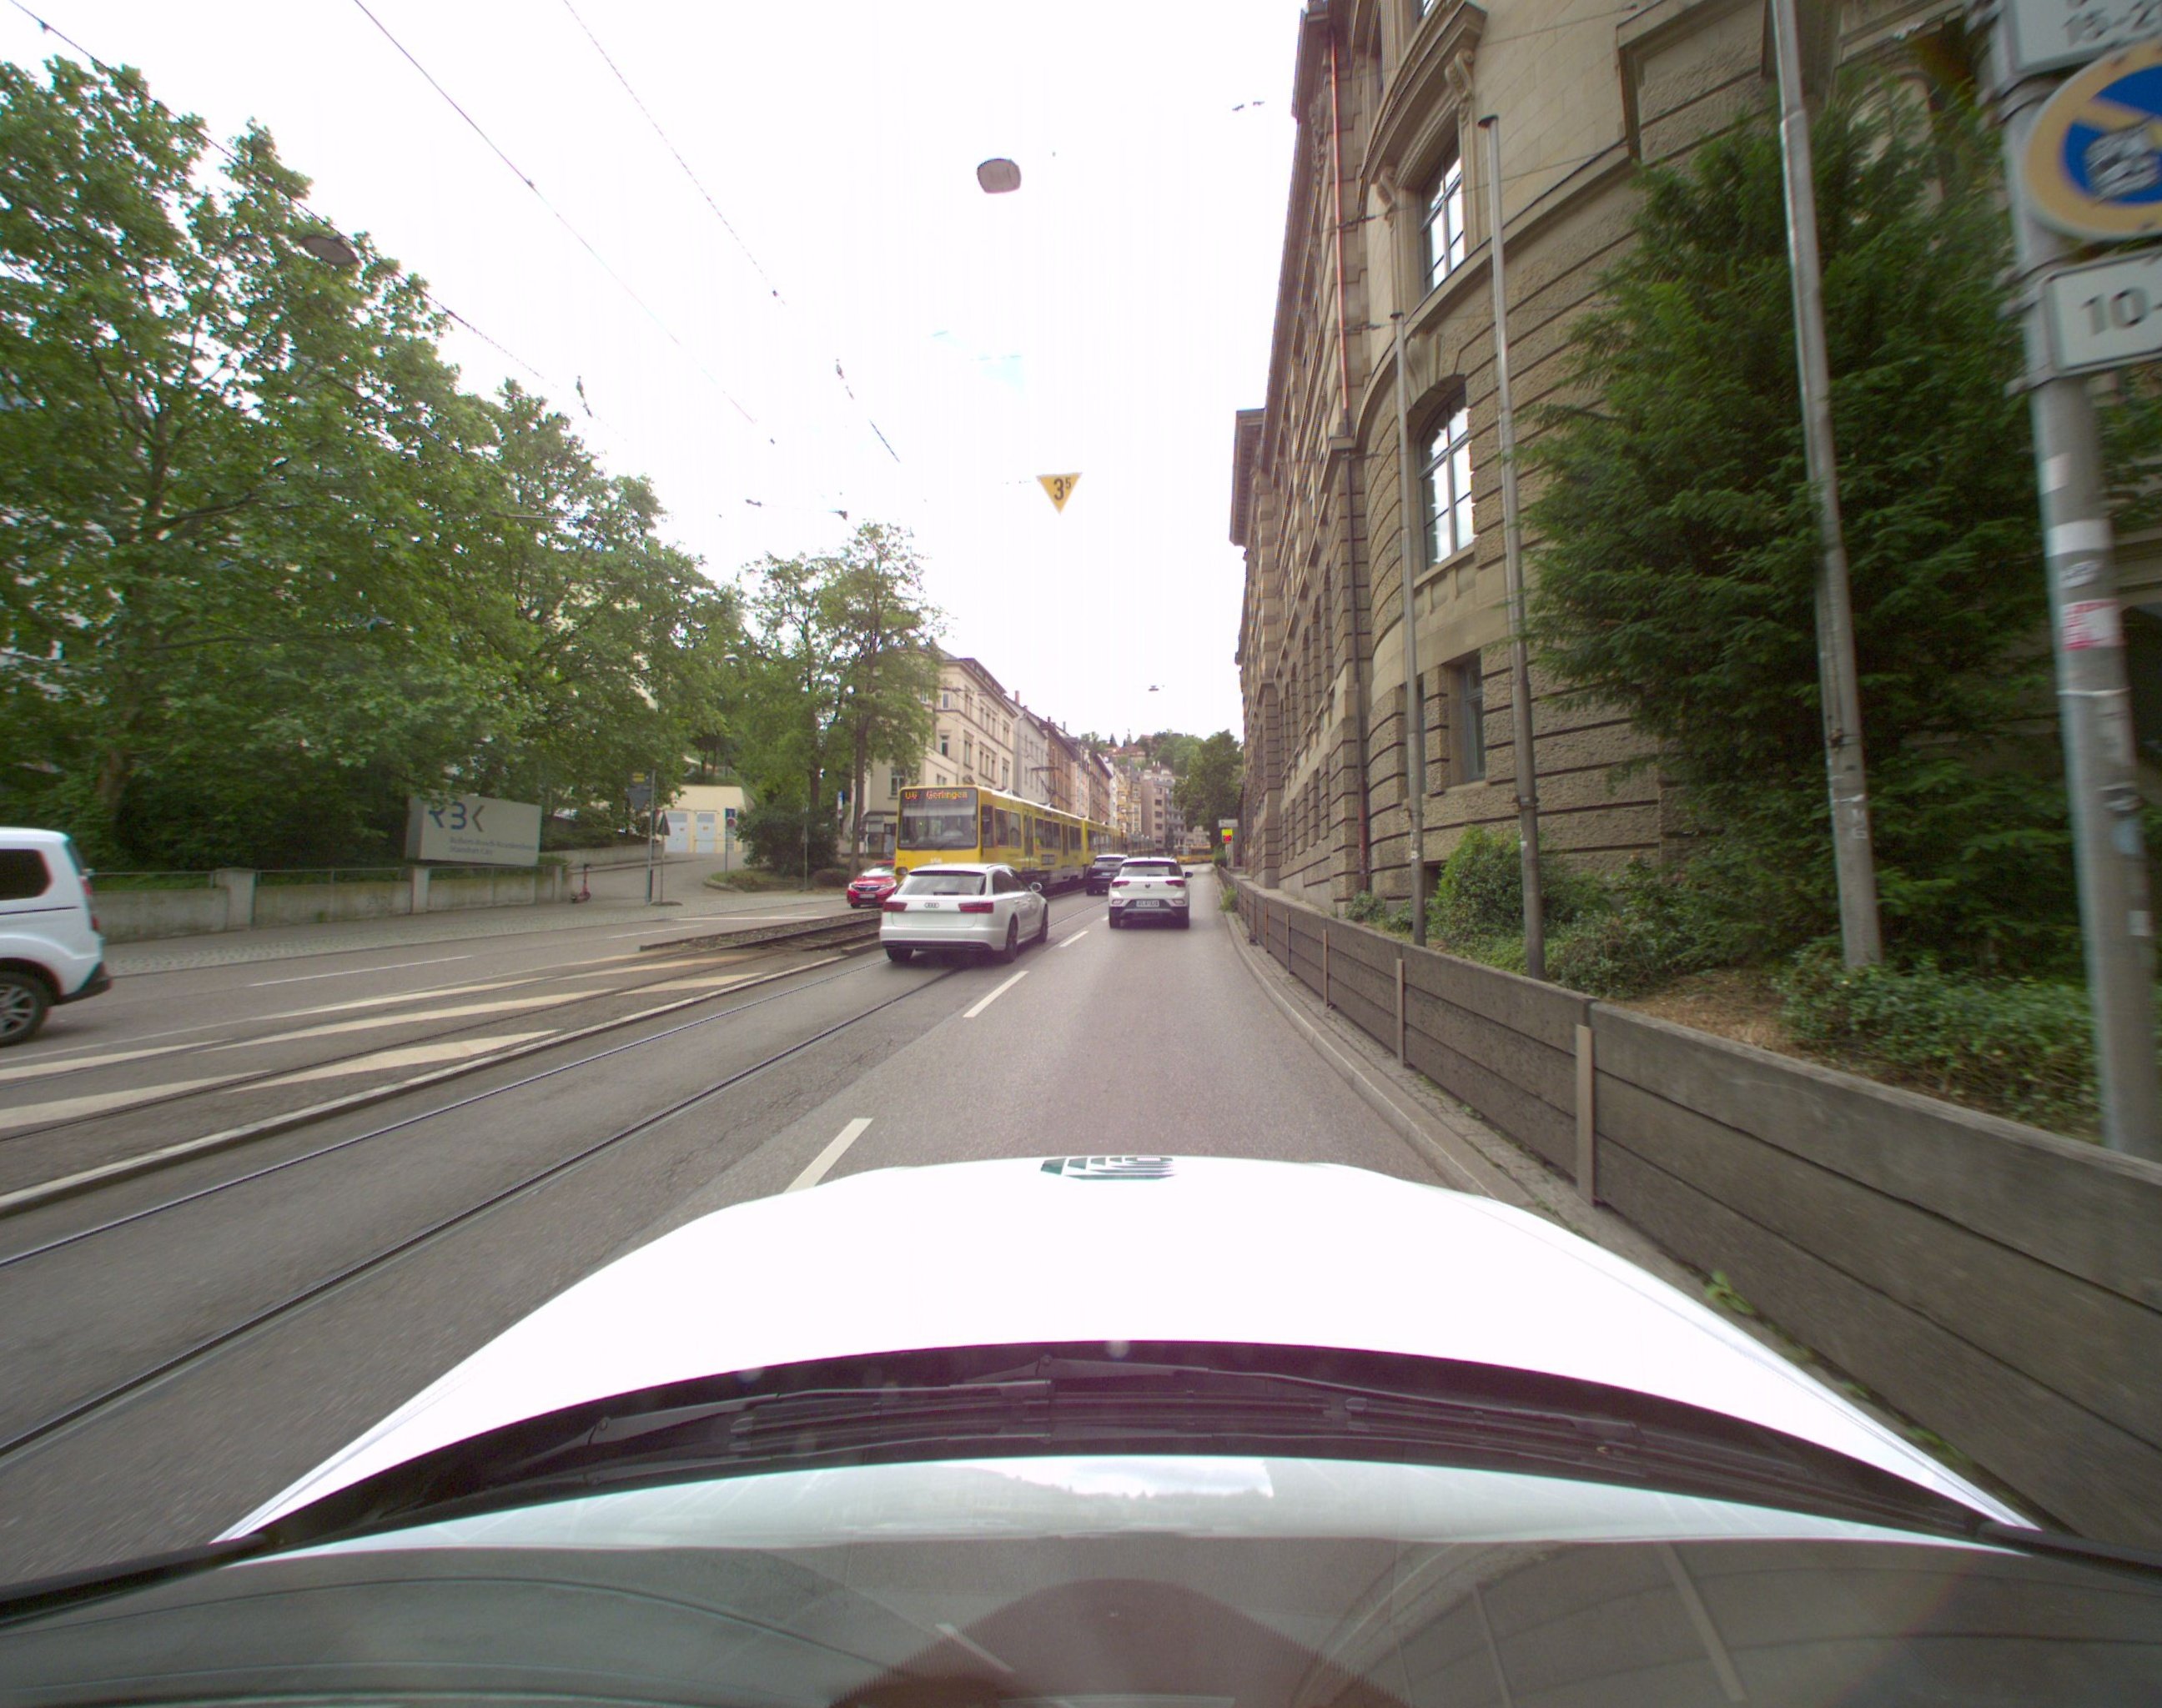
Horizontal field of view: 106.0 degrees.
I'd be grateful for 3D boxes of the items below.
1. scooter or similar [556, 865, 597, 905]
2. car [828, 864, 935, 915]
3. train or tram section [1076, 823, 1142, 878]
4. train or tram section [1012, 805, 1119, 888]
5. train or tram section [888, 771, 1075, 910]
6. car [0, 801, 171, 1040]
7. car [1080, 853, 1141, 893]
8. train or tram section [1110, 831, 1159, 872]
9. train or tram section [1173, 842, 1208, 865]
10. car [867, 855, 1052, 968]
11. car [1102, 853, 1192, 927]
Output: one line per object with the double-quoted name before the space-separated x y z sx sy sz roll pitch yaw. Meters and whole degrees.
"scooter or similar" -15.785 0.948 25.527 0.489 1.219 1.635 2 -1 -11
"car" -6.426 1.107 26.759 1.982 1.503 4.009 -1 0 9
"train or tram section" 2.596 -0.217 64.540 2.859 3.726 18.803 1 0 9
"train or tram section" -0.264 -0.317 45.957 2.859 3.726 18.747 1 0 9
"train or tram section" -2.764 -0.342 29.334 2.866 3.726 14.889 1 0 8
"car" -9.963 0.559 5.365 1.936 1.946 5.014 -1 0 9
"car" 1.324 0.773 34.340 2.026 1.571 4.369 -1 0 9
"train or tram section" 5.735 -0.191 83.086 2.858 3.726 18.809 1 0 10
"train or tram section" 20.941 -0.070 154.101 2.992 4.214 18.947 -1 0 18
"car" -1.722 0.772 13.236 1.869 1.455 4.625 1 0 6
"car" 1.613 0.768 19.130 1.869 1.554 4.007 -1 0 6
